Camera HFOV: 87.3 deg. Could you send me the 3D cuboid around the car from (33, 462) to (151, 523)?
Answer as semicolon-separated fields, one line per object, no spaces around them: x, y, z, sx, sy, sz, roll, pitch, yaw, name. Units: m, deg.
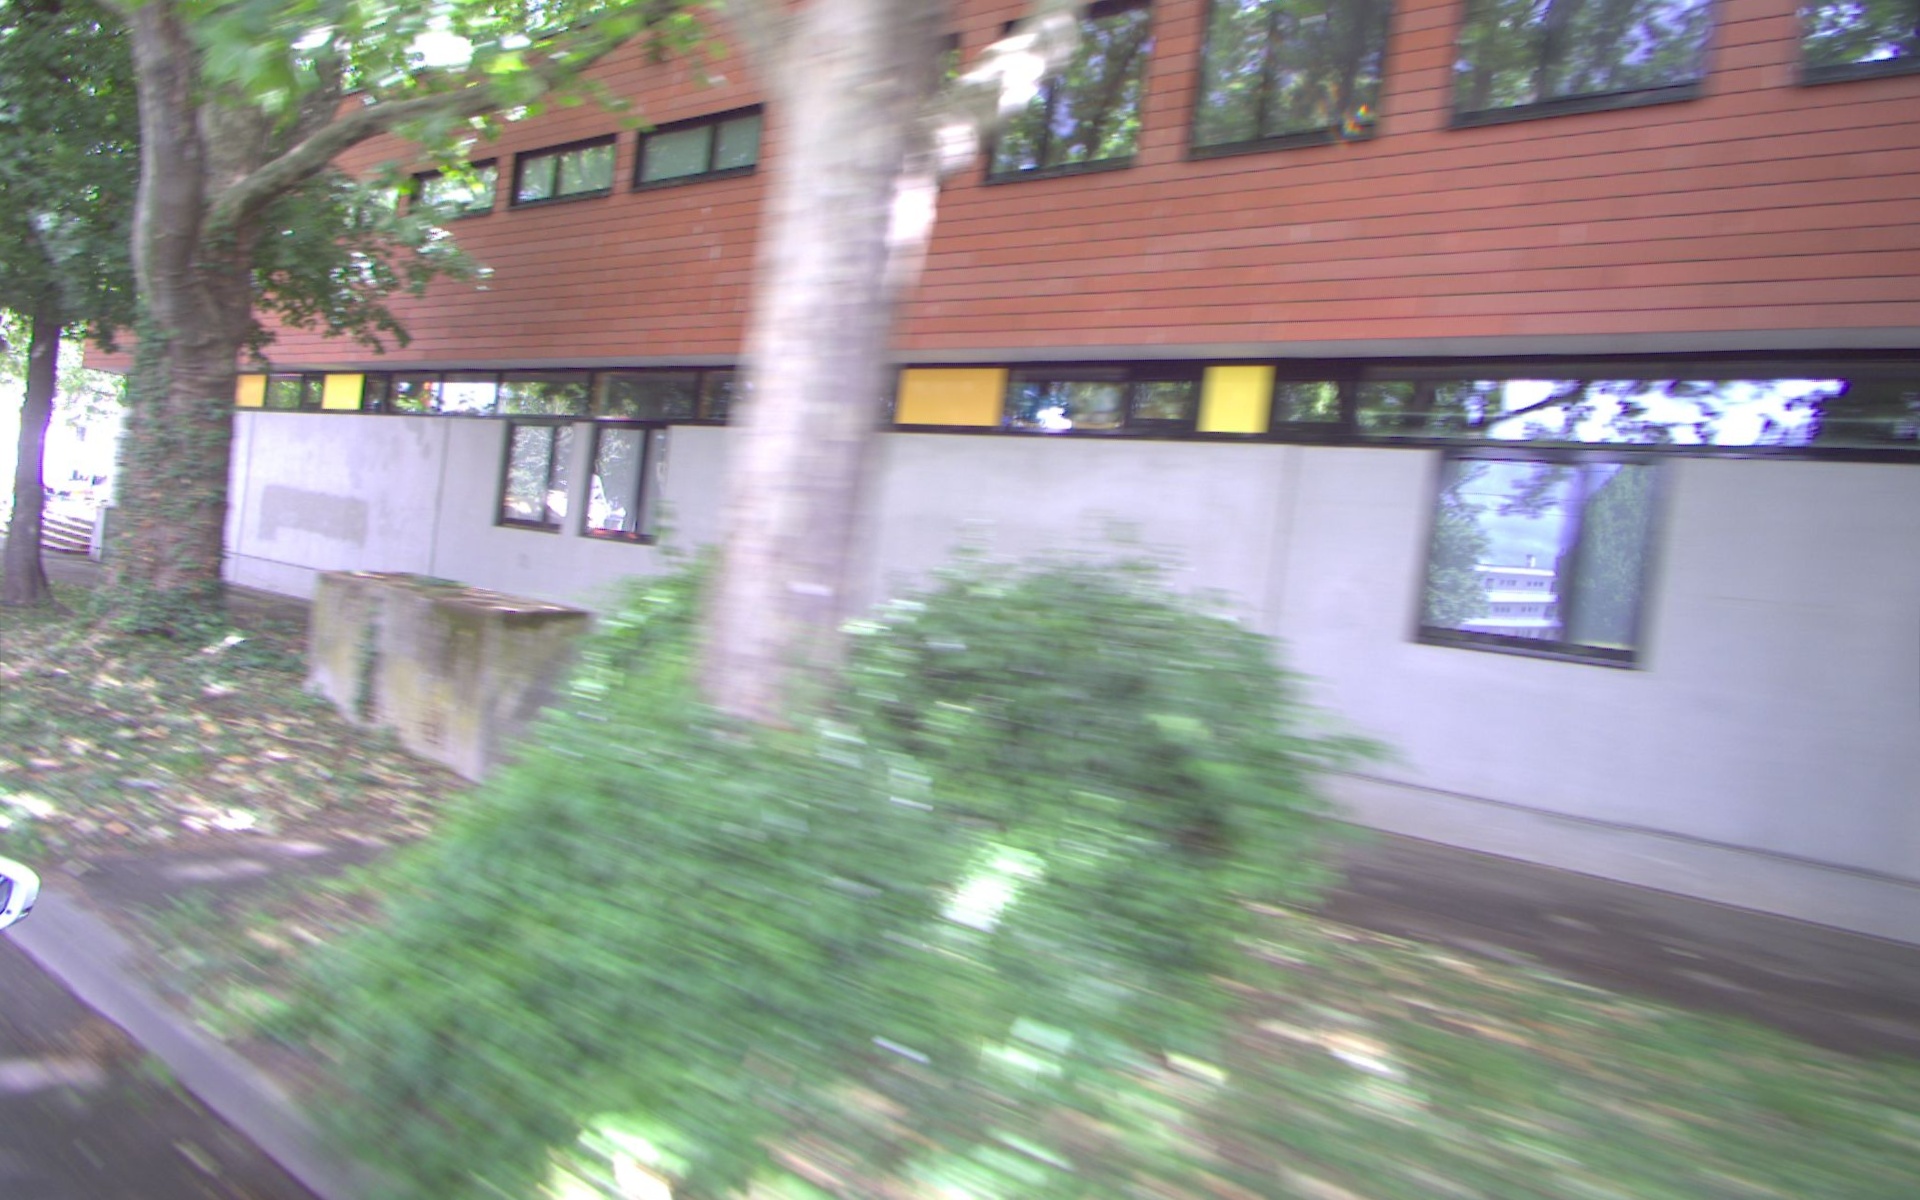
-46.013;-5.649;53.477;2.118;2.393;4.257;8;-1;5;car
